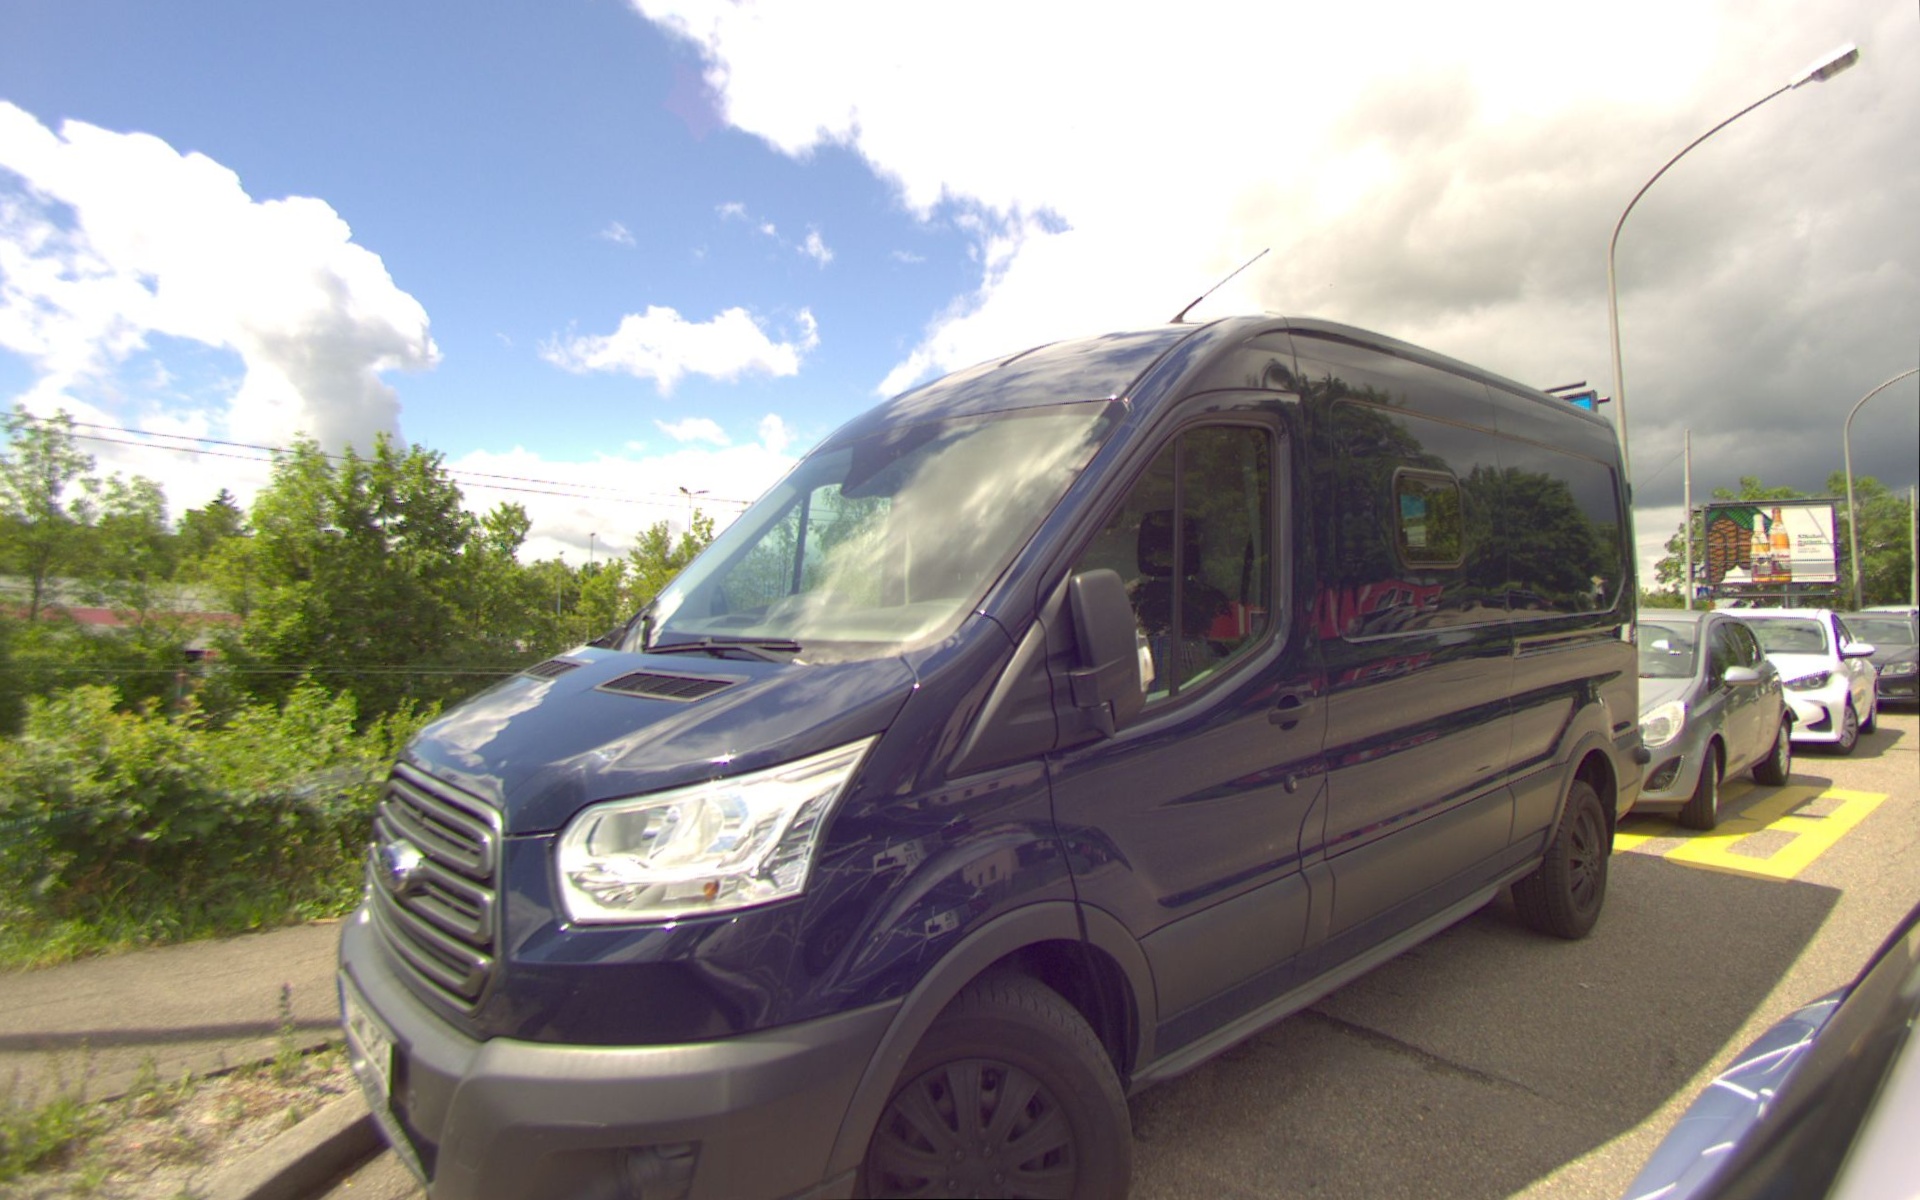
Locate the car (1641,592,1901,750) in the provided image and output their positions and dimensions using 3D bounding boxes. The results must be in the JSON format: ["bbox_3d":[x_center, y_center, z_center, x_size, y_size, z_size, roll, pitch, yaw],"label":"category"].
[{"bbox_3d":[9.351,0.723,11.563,3.890,1.499,1.707,1,-3,-43],"label":"car"}]

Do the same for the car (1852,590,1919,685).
[{"bbox_3d":[18.771,0.699,19.573,4.233,1.700,1.708,1,-3,-41],"label":"car"}]

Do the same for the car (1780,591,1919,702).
[{"bbox_3d":[14.304,0.682,15.706,4.493,1.506,1.708,1,-3,-41],"label":"car"}]

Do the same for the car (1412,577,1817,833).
[{"bbox_3d":[5.221,0.673,7.905,3.631,1.530,1.708,1,-3,-41],"label":"car"}]

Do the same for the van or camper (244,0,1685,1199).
[{"bbox_3d":[0.810,0.136,4.046,5.814,2.618,2.128,0,-1,-41],"label":"van or camper"}]

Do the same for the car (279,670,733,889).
[{"bbox_3d":[-4.208,1.512,9.670,3.631,1.530,1.708,1,-3,-41],"label":"car"}]
